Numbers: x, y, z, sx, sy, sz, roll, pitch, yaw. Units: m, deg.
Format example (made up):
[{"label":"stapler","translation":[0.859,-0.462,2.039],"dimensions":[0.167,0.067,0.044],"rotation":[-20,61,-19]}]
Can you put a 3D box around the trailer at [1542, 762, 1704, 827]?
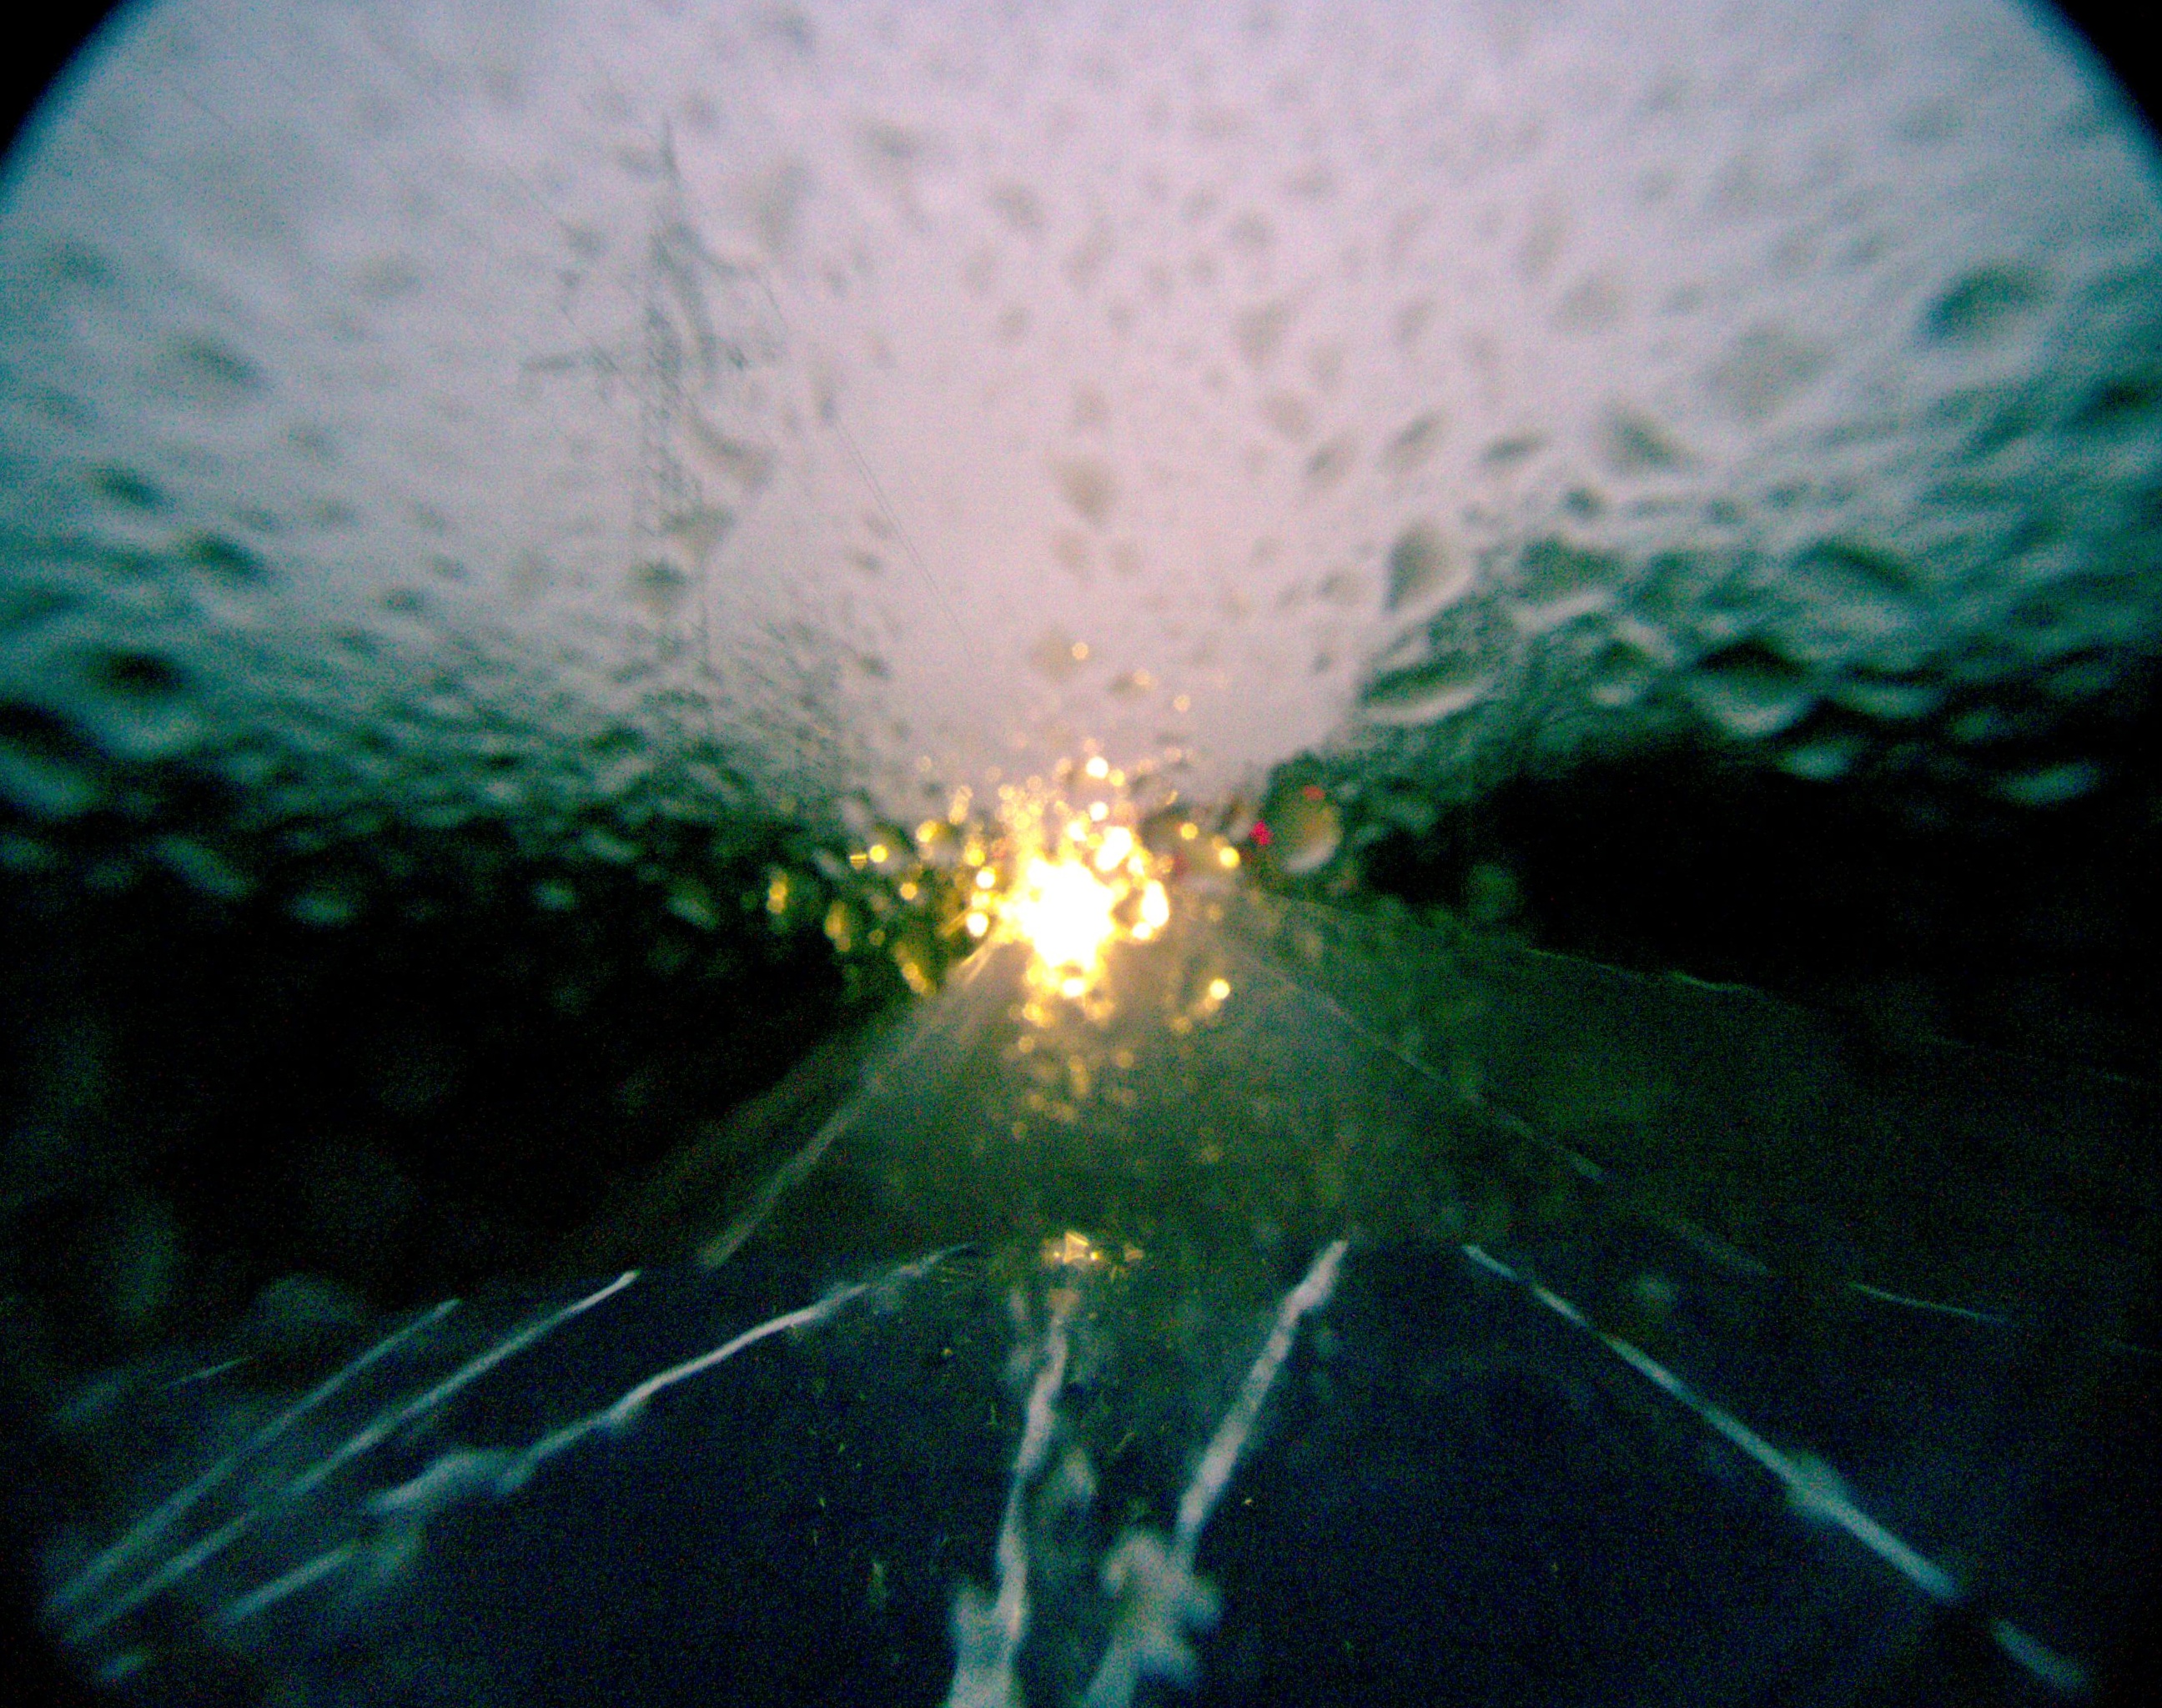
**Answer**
[{"label":"trailer","translation":[31.739,-3.300,45.339],"dimensions":[2.441,2.874,11.090],"rotation":[-1,0,4]}]

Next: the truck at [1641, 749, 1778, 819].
[{"label":"truck","translation":[31.137,-3.383,37.950],"dimensions":[2.455,2.869,5.586],"rotation":[-1,0,4]}]

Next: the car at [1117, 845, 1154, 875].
[{"label":"car","translation":[3.290,0.342,46.318],"dimensions":[1.910,1.653,3.999],"rotation":[-2,1,0]}]

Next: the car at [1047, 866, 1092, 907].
[{"label":"car","translation":[-0.493,1.463,35.498],"dimensions":[1.910,1.653,3.999],"rotation":[-2,1,1]}]
